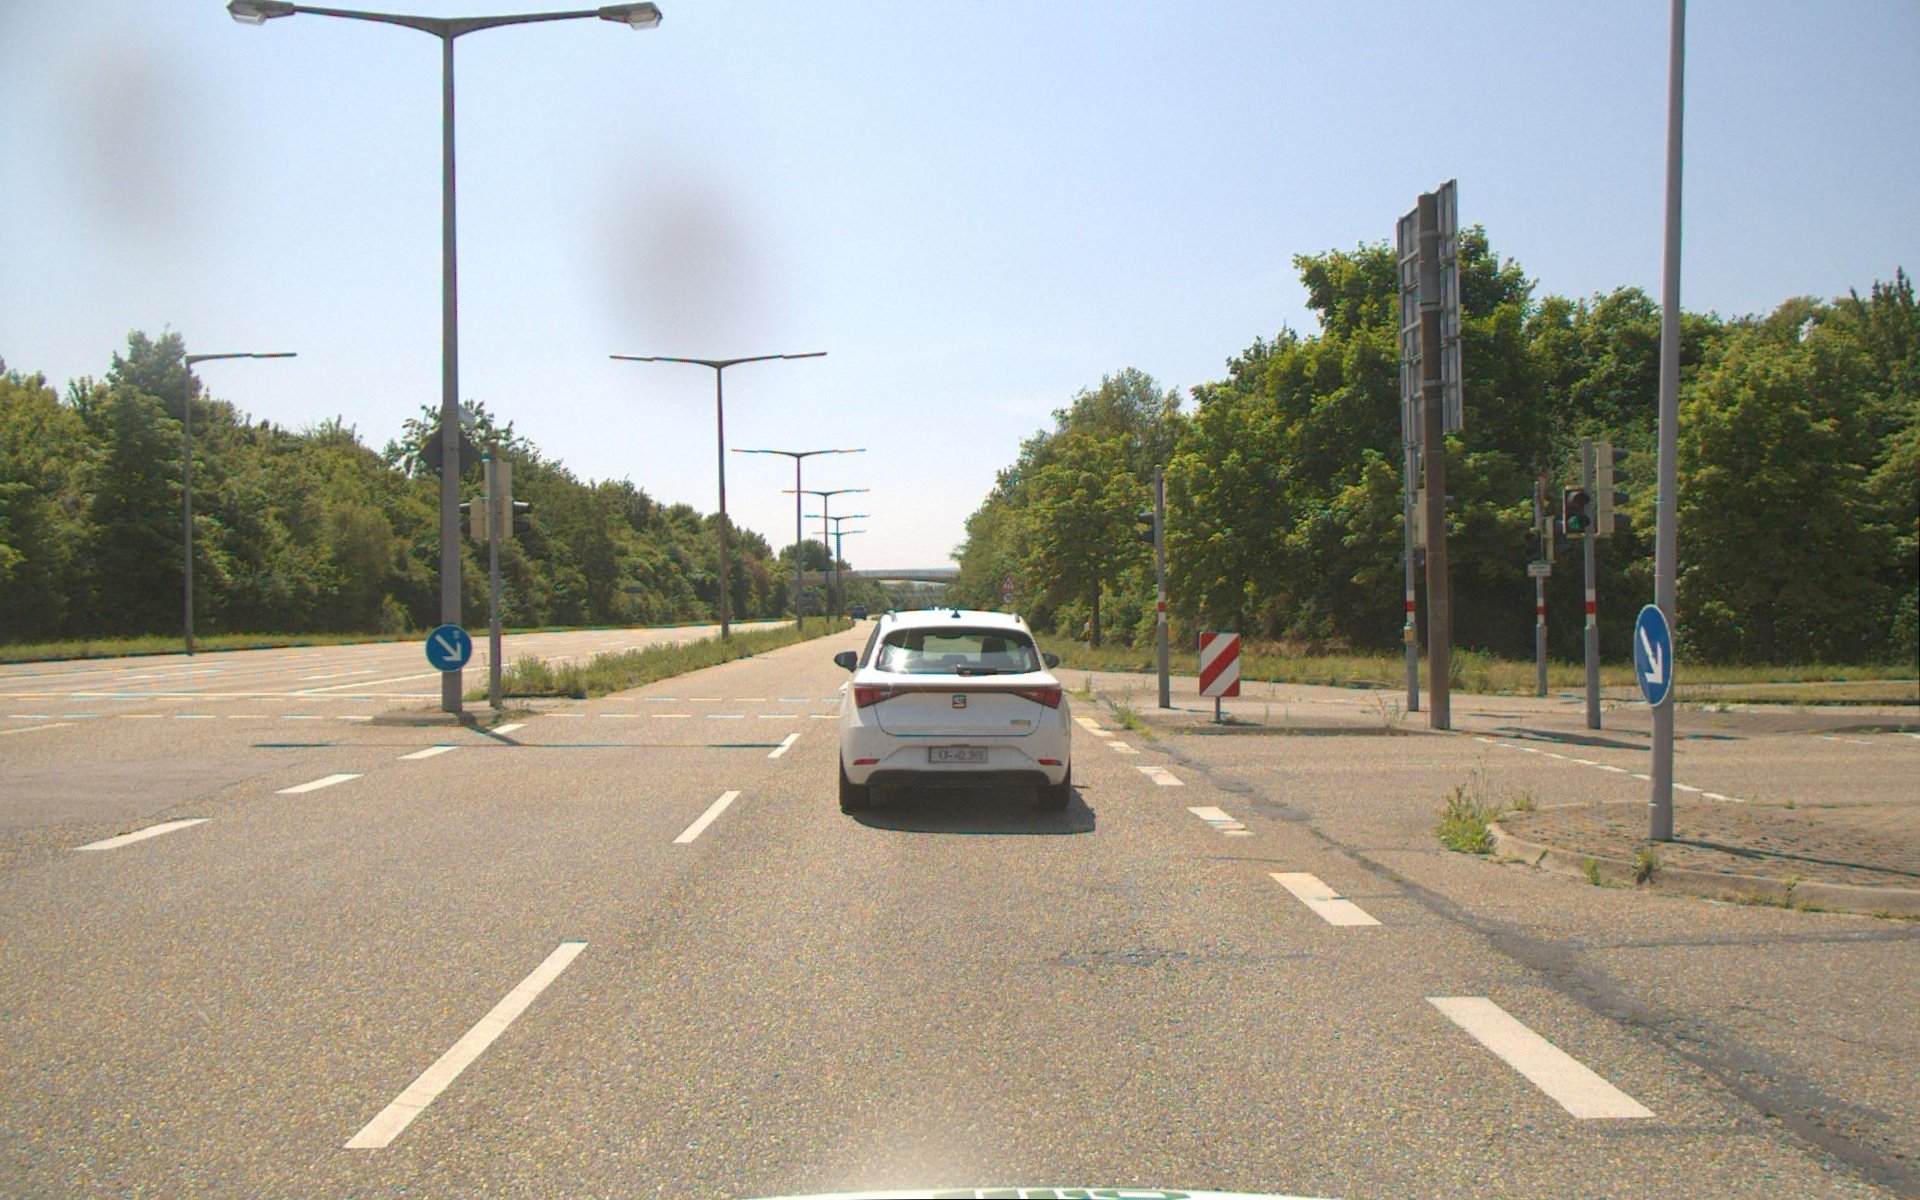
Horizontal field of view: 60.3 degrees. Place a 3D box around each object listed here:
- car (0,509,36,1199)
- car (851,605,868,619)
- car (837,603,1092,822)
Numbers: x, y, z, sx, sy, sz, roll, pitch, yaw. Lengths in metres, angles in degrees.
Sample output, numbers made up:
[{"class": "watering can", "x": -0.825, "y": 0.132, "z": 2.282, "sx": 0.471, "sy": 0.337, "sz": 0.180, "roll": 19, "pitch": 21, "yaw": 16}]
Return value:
[{"class": "car", "x": -3.068, "y": 0.623, "z": 1.615, "sx": 1.767, "sy": 1.691, "sz": 4.643, "roll": 0, "pitch": 0, "yaw": -1}, {"class": "car", "x": -13.186, "y": 1.568, "z": 216.618, "sx": 1.816, "sy": 1.739, "sz": 4.000, "roll": -1, "pitch": 0, "yaw": 1}, {"class": "car", "x": 0.010, "y": 0.792, "z": 13.040, "sx": 1.699, "sy": 1.453, "sz": 3.693, "roll": 1, "pitch": -1, "yaw": -1}]
